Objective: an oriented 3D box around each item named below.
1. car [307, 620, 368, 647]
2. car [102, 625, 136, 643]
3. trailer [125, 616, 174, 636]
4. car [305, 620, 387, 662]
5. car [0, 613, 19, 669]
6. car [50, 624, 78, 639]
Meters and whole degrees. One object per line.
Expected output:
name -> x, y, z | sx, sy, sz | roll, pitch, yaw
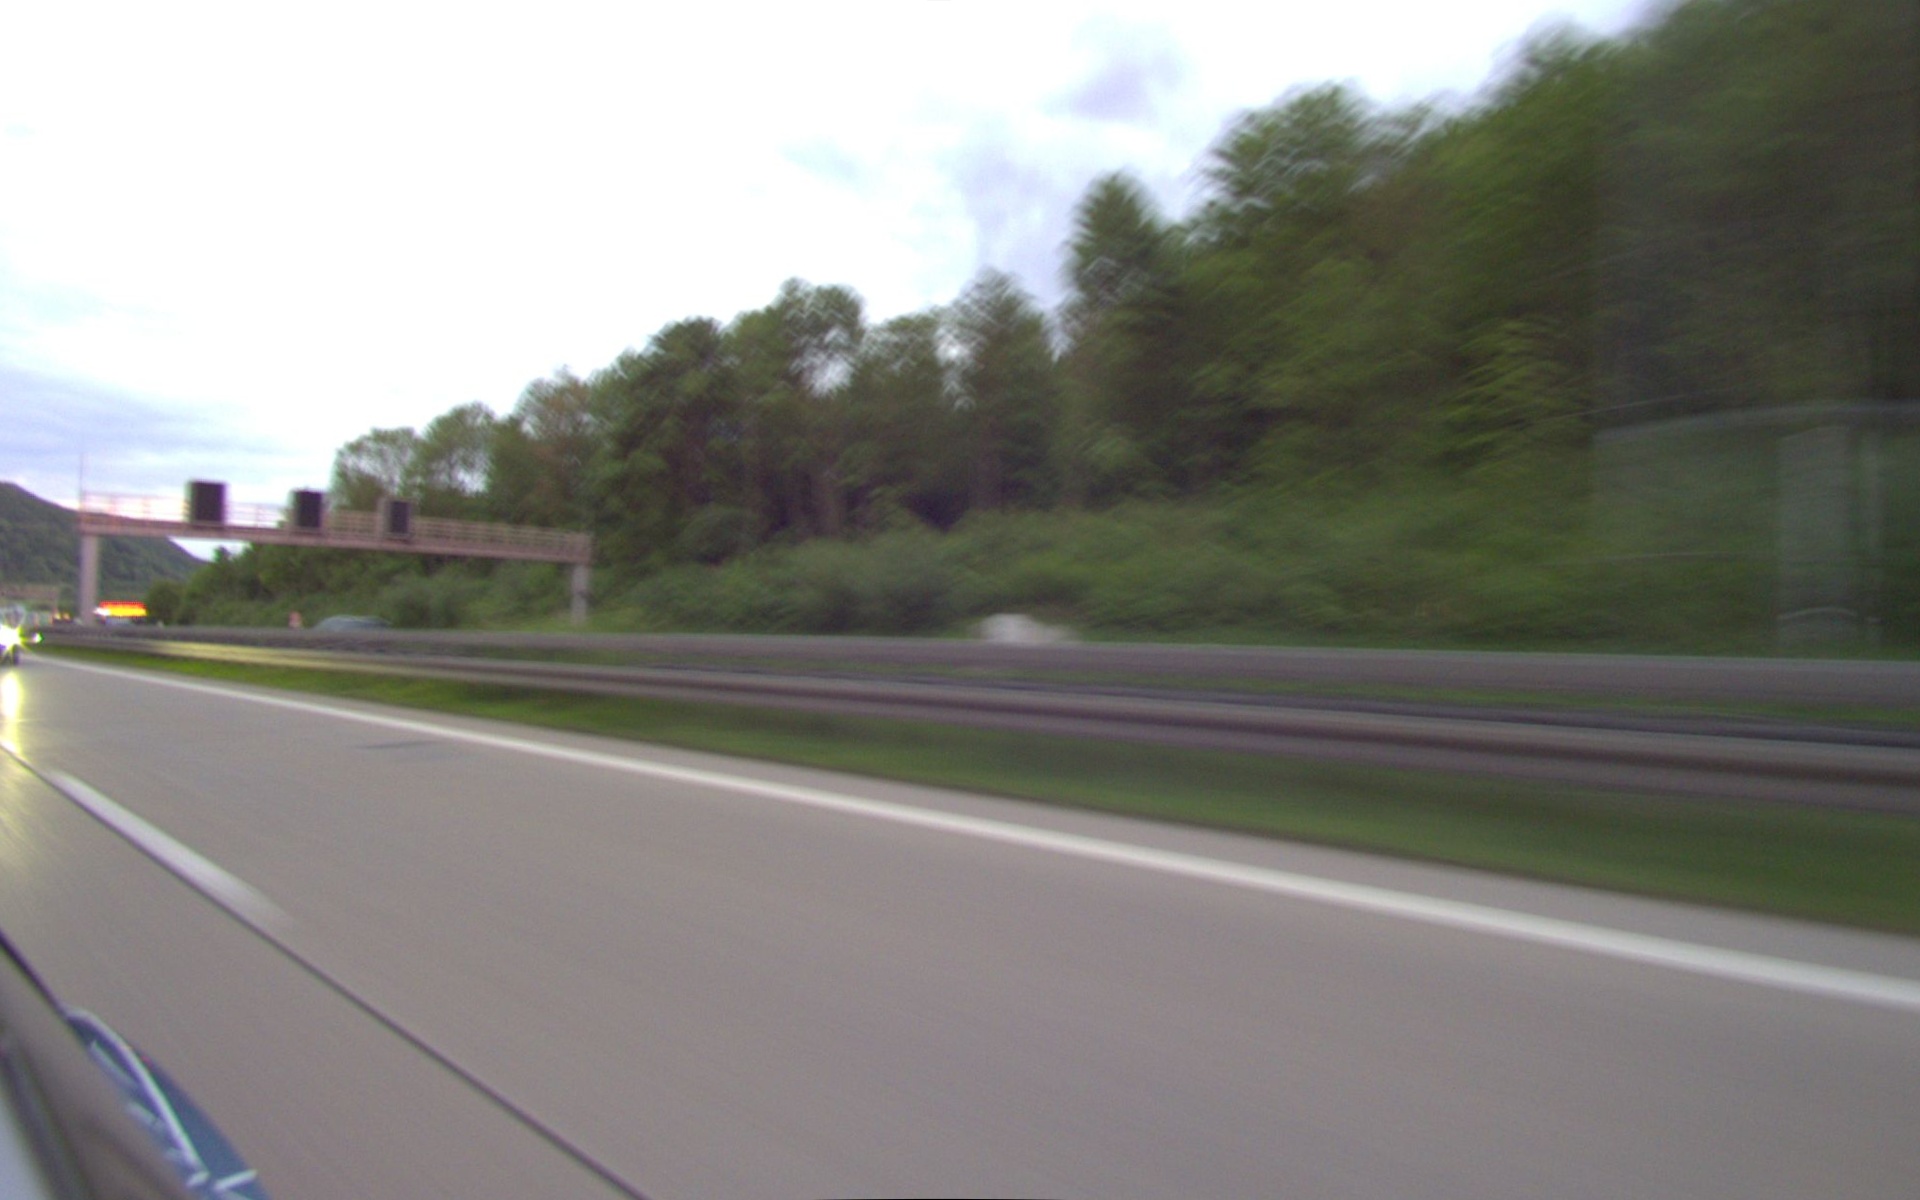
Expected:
car -> -35.670, 1.906, 57.986 | 4.388, 1.493, 1.744 | -1, -1, 41
car -> -82.697, 3.320, 99.451 | 4.773, 1.651, 1.829 | -1, -1, 41
trailer -> -157.391, 5.048, 196.657 | 3.018, 3.707, 13.384 | 0, -1, -19
car -> -26.534, 1.734, 43.677 | 4.456, 1.707, 1.744 | -1, -1, 41
car -> -30.903, 1.232, 31.446 | 5.636, 1.672, 1.870 | -1, -1, 41
car -> -109.369, 3.865, 123.517 | 5.657, 1.747, 1.829 | -1, -1, 41
